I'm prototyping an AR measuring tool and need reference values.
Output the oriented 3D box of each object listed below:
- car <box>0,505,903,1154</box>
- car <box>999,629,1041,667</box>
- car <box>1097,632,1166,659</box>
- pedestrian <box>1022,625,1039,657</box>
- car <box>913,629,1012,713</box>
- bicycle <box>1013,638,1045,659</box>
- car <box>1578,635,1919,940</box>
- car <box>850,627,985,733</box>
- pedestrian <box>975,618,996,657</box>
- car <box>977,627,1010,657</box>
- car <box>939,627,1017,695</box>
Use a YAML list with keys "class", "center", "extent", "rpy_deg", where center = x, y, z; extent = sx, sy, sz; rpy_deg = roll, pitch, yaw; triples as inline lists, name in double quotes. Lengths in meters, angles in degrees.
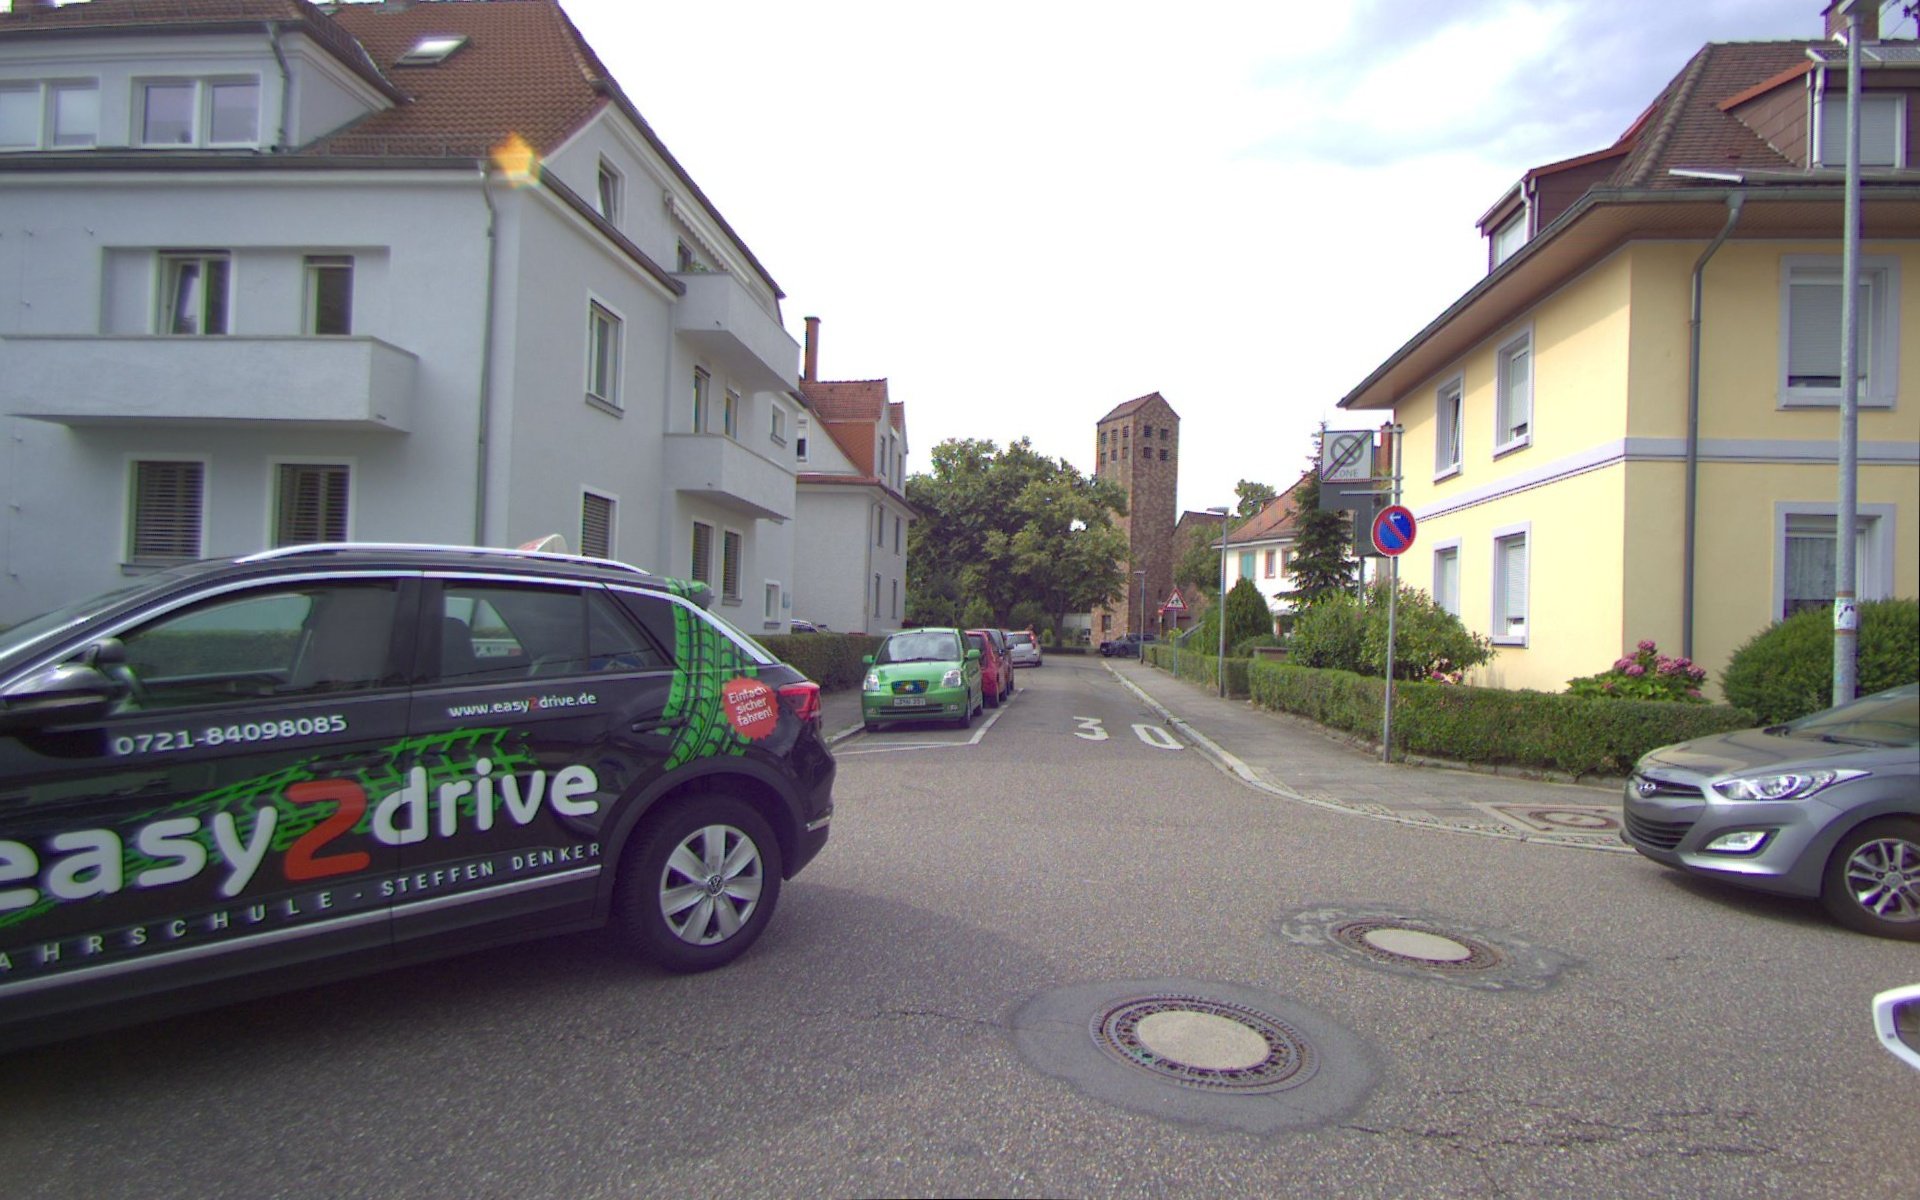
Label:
- class: "car"
  center: [-2.335, 0.565, 3.540]
  extent: [4.012, 1.540, 1.800]
  rpy_deg: [2, -1, -42]
- class: "car"
  center: [2.596, 2.037, 42.884]
  extent: [1.618, 1.515, 3.484]
  rpy_deg: [-1, -2, 5]
- class: "car"
  center: [10.812, 2.835, 63.513]
  extent: [4.142, 1.483, 1.685]
  rpy_deg: [2, 0, 6]
- class: "pedestrian"
  center: [4.254, 2.462, 60.474]
  extent: [0.910, 1.841, 0.624]
  rpy_deg: [2, -1, 13]
- class: "car"
  center: [0.131, 1.358, 20.091]
  extent: [1.618, 1.515, 3.484]
  rpy_deg: [-1, -2, 5]
- class: "bicycle"
  center: [4.163, 2.920, 60.475]
  extent: [1.858, 1.145, 0.454]
  rpy_deg: [2, -1, 12]
- class: "car"
  center: [6.106, 1.025, 5.740]
  extent: [3.959, 1.500, 1.856]
  rpy_deg: [2, -2, 12]
- class: "car"
  center: [-0.551, 1.173, 15.690]
  extent: [1.618, 1.440, 3.484]
  rpy_deg: [-1, -2, 5]
- class: "pedestrian"
  center: [1.263, 1.841, 49.442]
  extent: [0.866, 1.903, 1.079]
  rpy_deg: [2, -1, 7]
- class: "car"
  center: [1.764, 2.223, 53.522]
  extent: [1.618, 1.515, 3.482]
  rpy_deg: [-1, -2, 0]
- class: "car"
  center: [0.503, 1.456, 24.629]
  extent: [1.618, 1.515, 3.484]
  rpy_deg: [-1, -2, 5]
